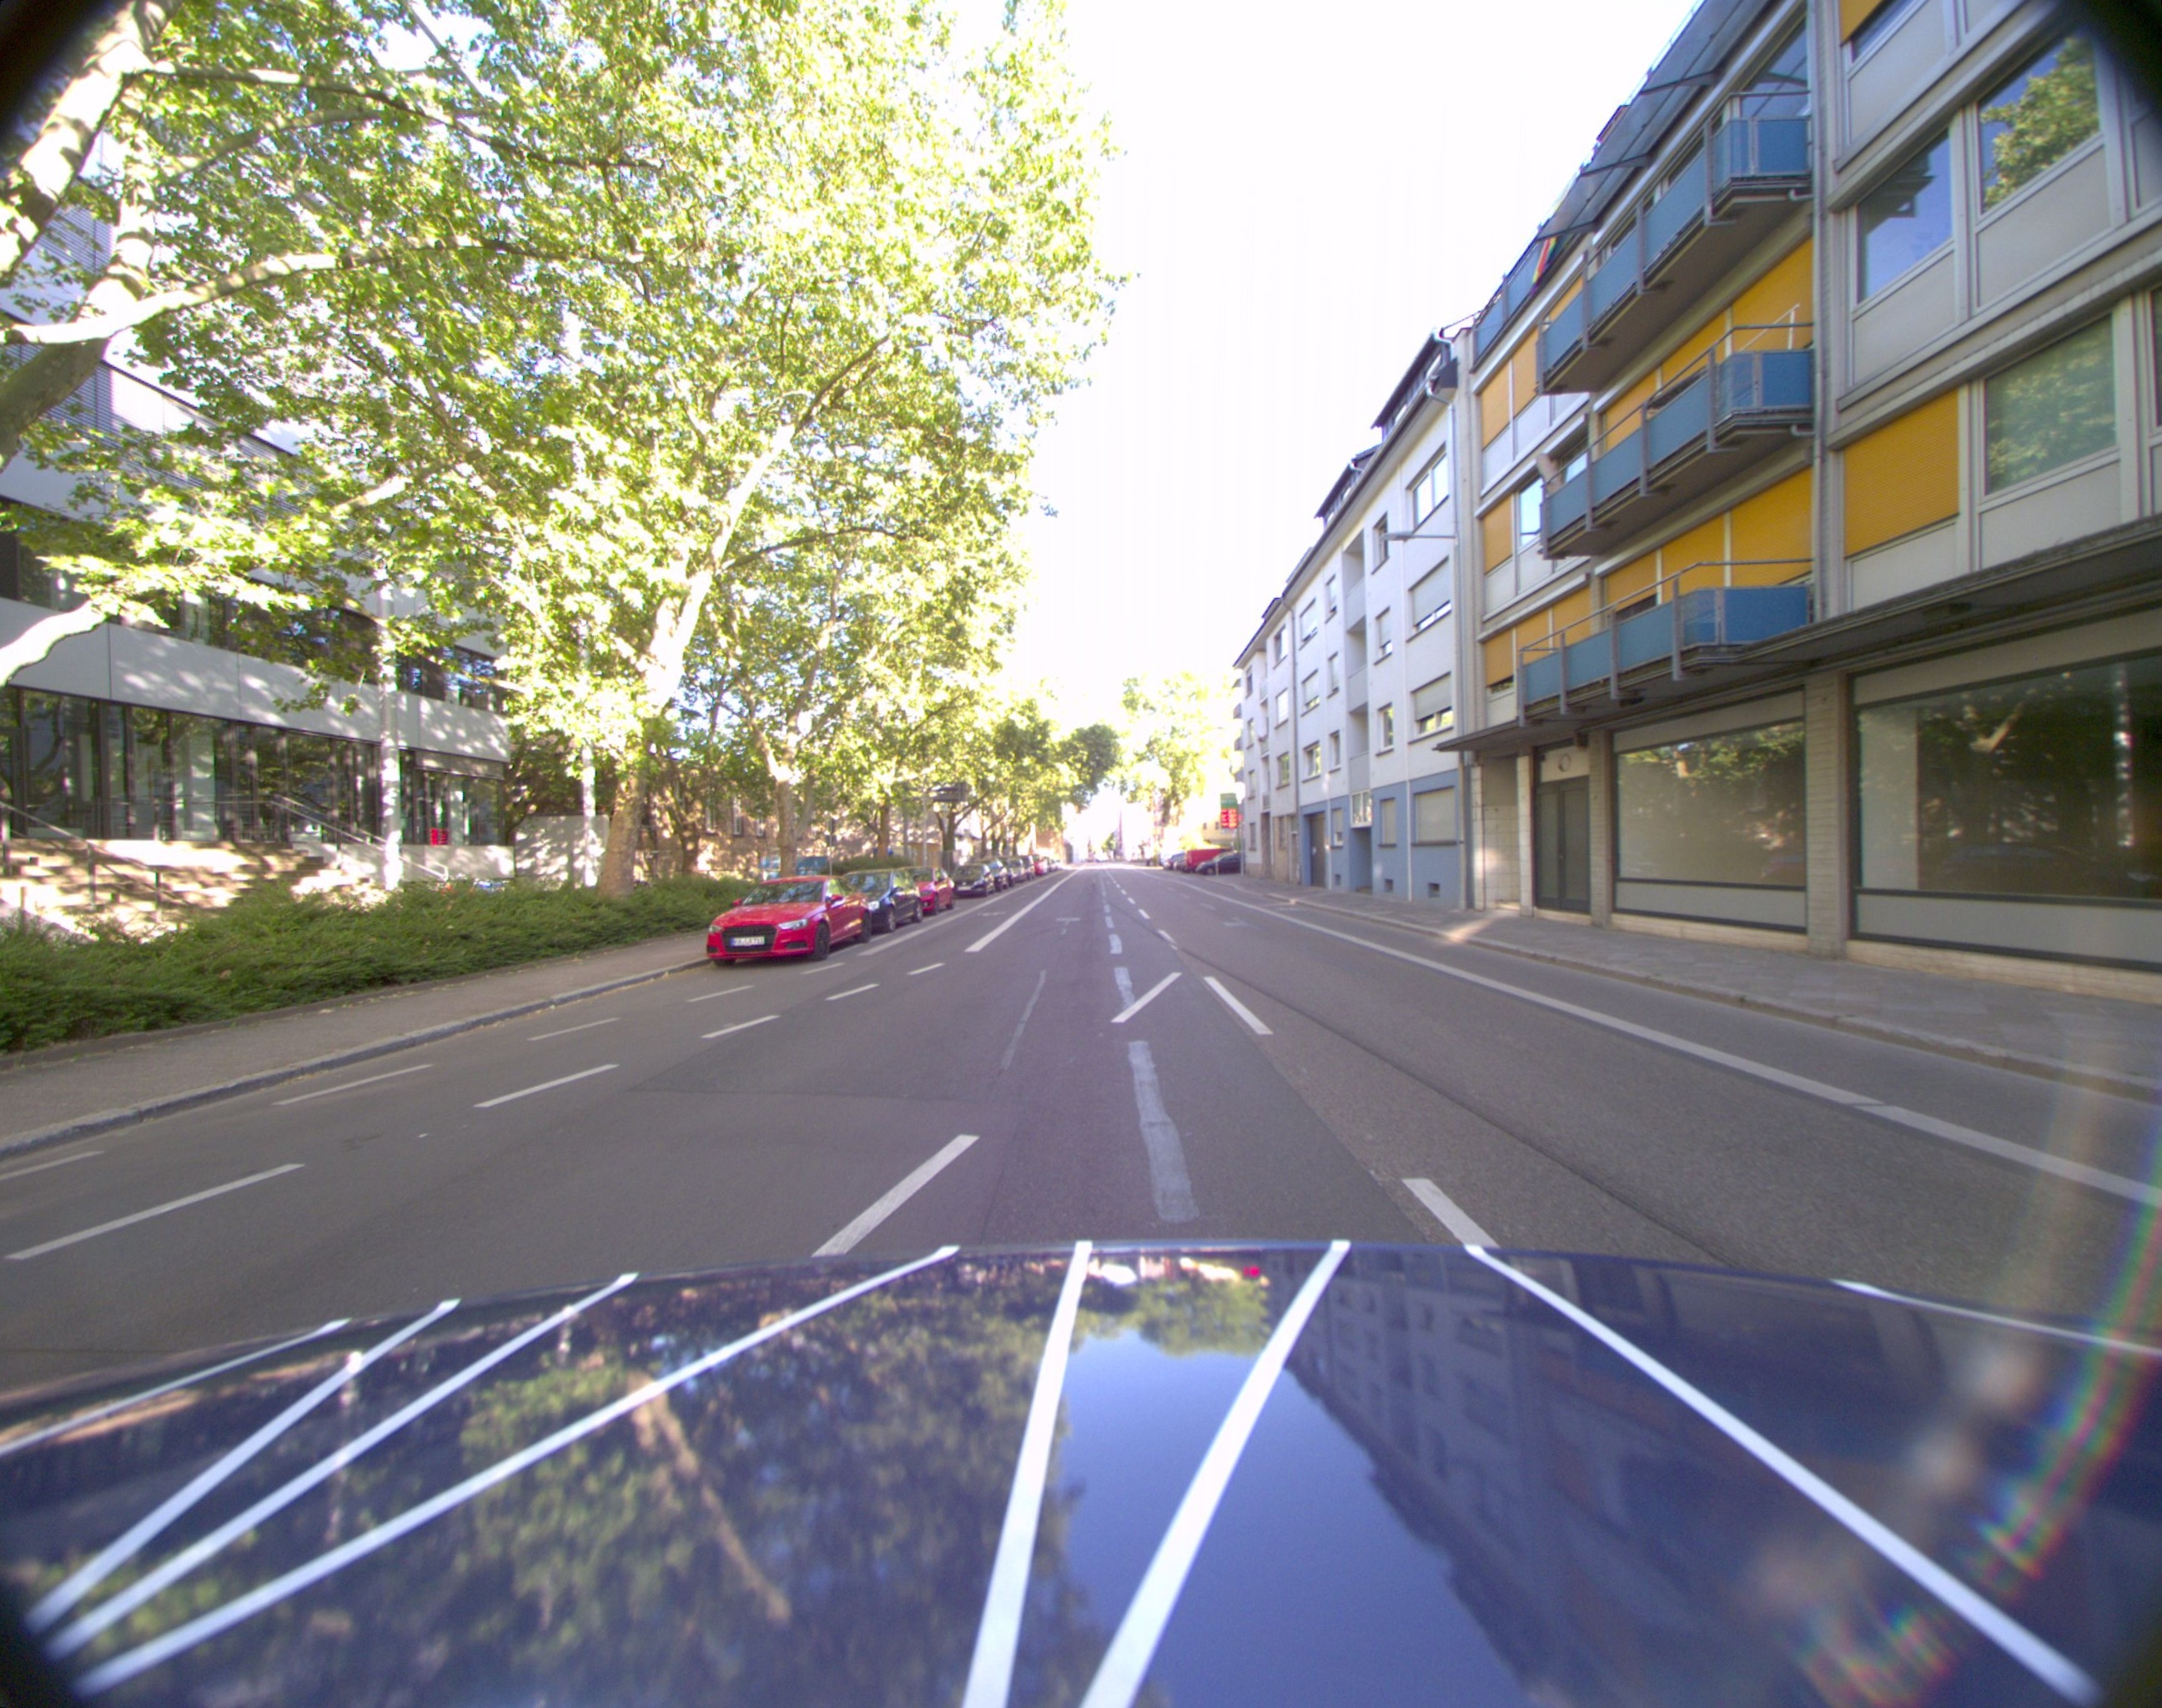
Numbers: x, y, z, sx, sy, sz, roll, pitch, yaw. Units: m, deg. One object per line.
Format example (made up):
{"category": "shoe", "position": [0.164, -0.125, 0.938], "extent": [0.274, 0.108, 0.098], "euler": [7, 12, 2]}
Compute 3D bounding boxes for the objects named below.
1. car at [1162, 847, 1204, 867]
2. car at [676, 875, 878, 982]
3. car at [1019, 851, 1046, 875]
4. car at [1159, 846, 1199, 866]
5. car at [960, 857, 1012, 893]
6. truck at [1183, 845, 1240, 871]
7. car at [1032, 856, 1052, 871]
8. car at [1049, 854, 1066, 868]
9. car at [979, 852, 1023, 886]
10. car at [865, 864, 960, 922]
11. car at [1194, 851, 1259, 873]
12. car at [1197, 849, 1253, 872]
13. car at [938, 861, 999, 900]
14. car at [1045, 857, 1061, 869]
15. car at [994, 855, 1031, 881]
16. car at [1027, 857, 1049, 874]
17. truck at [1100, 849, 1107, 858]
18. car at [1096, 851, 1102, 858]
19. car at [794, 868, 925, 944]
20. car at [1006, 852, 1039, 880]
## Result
{"category": "car", "position": [10.860, 0.279, 80.907], "extent": [4.236, 1.945, 2.000], "euler": [-2, 1, 3]}
{"category": "car", "position": [-5.192, 1.195, 13.632], "extent": [1.907, 1.417, 3.999], "euler": [-2, 1, 1]}
{"category": "car", "position": [-4.224, 0.779, 66.418], "extent": [1.998, 1.960, 3.999], "euler": [-2, 1, 1]}
{"category": "car", "position": [10.947, 0.212, 85.307], "extent": [4.236, 2.025, 2.000], "euler": [-2, 1, 3]}
{"category": "car", "position": [-4.688, 1.003, 38.122], "extent": [1.998, 1.592, 4.142], "euler": [-2, 1, 1]}
{"category": "truck", "position": [10.284, 0.316, 60.203], "extent": [4.092, 1.913, 2.000], "euler": [-2, 1, 0]}
{"category": "car", "position": [-4.140, 0.983, 80.743], "extent": [1.824, 1.466, 3.999], "euler": [-2, 1, 1]}
{"category": "car", "position": [-3.187, 0.901, 103.002], "extent": [1.998, 1.682, 3.999], "euler": [-2, 1, 1]}
{"category": "car", "position": [-4.611, 0.835, 44.511], "extent": [1.998, 1.777, 4.572], "euler": [-2, 1, 1]}
{"category": "car", "position": [-5.132, 1.147, 23.671], "extent": [1.998, 1.490, 3.828], "euler": [-2, 1, 1]}
{"category": "car", "position": [10.452, 0.568, 54.777], "extent": [4.324, 1.398, 1.658], "euler": [-2, 1, 0]}
{"category": "car", "position": [10.798, 0.447, 57.108], "extent": [3.810, 1.563, 1.658], "euler": [-2, 1, 0]}
{"category": "car", "position": [-4.842, 1.126, 33.173], "extent": [1.998, 1.447, 3.589], "euler": [-2, 1, 1]}
{"category": "car", "position": [-3.350, 1.065, 92.731], "extent": [1.693, 1.364, 3.999], "euler": [-2, 1, 1]}
{"category": "car", "position": [-4.520, 0.900, 50.944], "extent": [1.998, 1.557, 4.142], "euler": [-2, 1, 1]}
{"category": "car", "position": [-4.040, 1.078, 71.991], "extent": [1.824, 1.466, 3.999], "euler": [-2, 1, 1]}
{"category": "truck", "position": [6.877, -0.307, 233.817], "extent": [1.998, 2.653, 5.314], "euler": [-2, 1, 0]}
{"category": "car", "position": [6.165, 0.178, 259.448], "extent": [1.998, 2.002, 3.999], "euler": [-2, 1, 1]}
{"category": "car", "position": [-5.176, 1.167, 18.328], "extent": [1.998, 1.452, 3.644], "euler": [-2, 1, 1]}
{"category": "car", "position": [-4.236, 0.841, 55.558], "extent": [1.998, 1.838, 3.999], "euler": [-2, 1, 1]}
